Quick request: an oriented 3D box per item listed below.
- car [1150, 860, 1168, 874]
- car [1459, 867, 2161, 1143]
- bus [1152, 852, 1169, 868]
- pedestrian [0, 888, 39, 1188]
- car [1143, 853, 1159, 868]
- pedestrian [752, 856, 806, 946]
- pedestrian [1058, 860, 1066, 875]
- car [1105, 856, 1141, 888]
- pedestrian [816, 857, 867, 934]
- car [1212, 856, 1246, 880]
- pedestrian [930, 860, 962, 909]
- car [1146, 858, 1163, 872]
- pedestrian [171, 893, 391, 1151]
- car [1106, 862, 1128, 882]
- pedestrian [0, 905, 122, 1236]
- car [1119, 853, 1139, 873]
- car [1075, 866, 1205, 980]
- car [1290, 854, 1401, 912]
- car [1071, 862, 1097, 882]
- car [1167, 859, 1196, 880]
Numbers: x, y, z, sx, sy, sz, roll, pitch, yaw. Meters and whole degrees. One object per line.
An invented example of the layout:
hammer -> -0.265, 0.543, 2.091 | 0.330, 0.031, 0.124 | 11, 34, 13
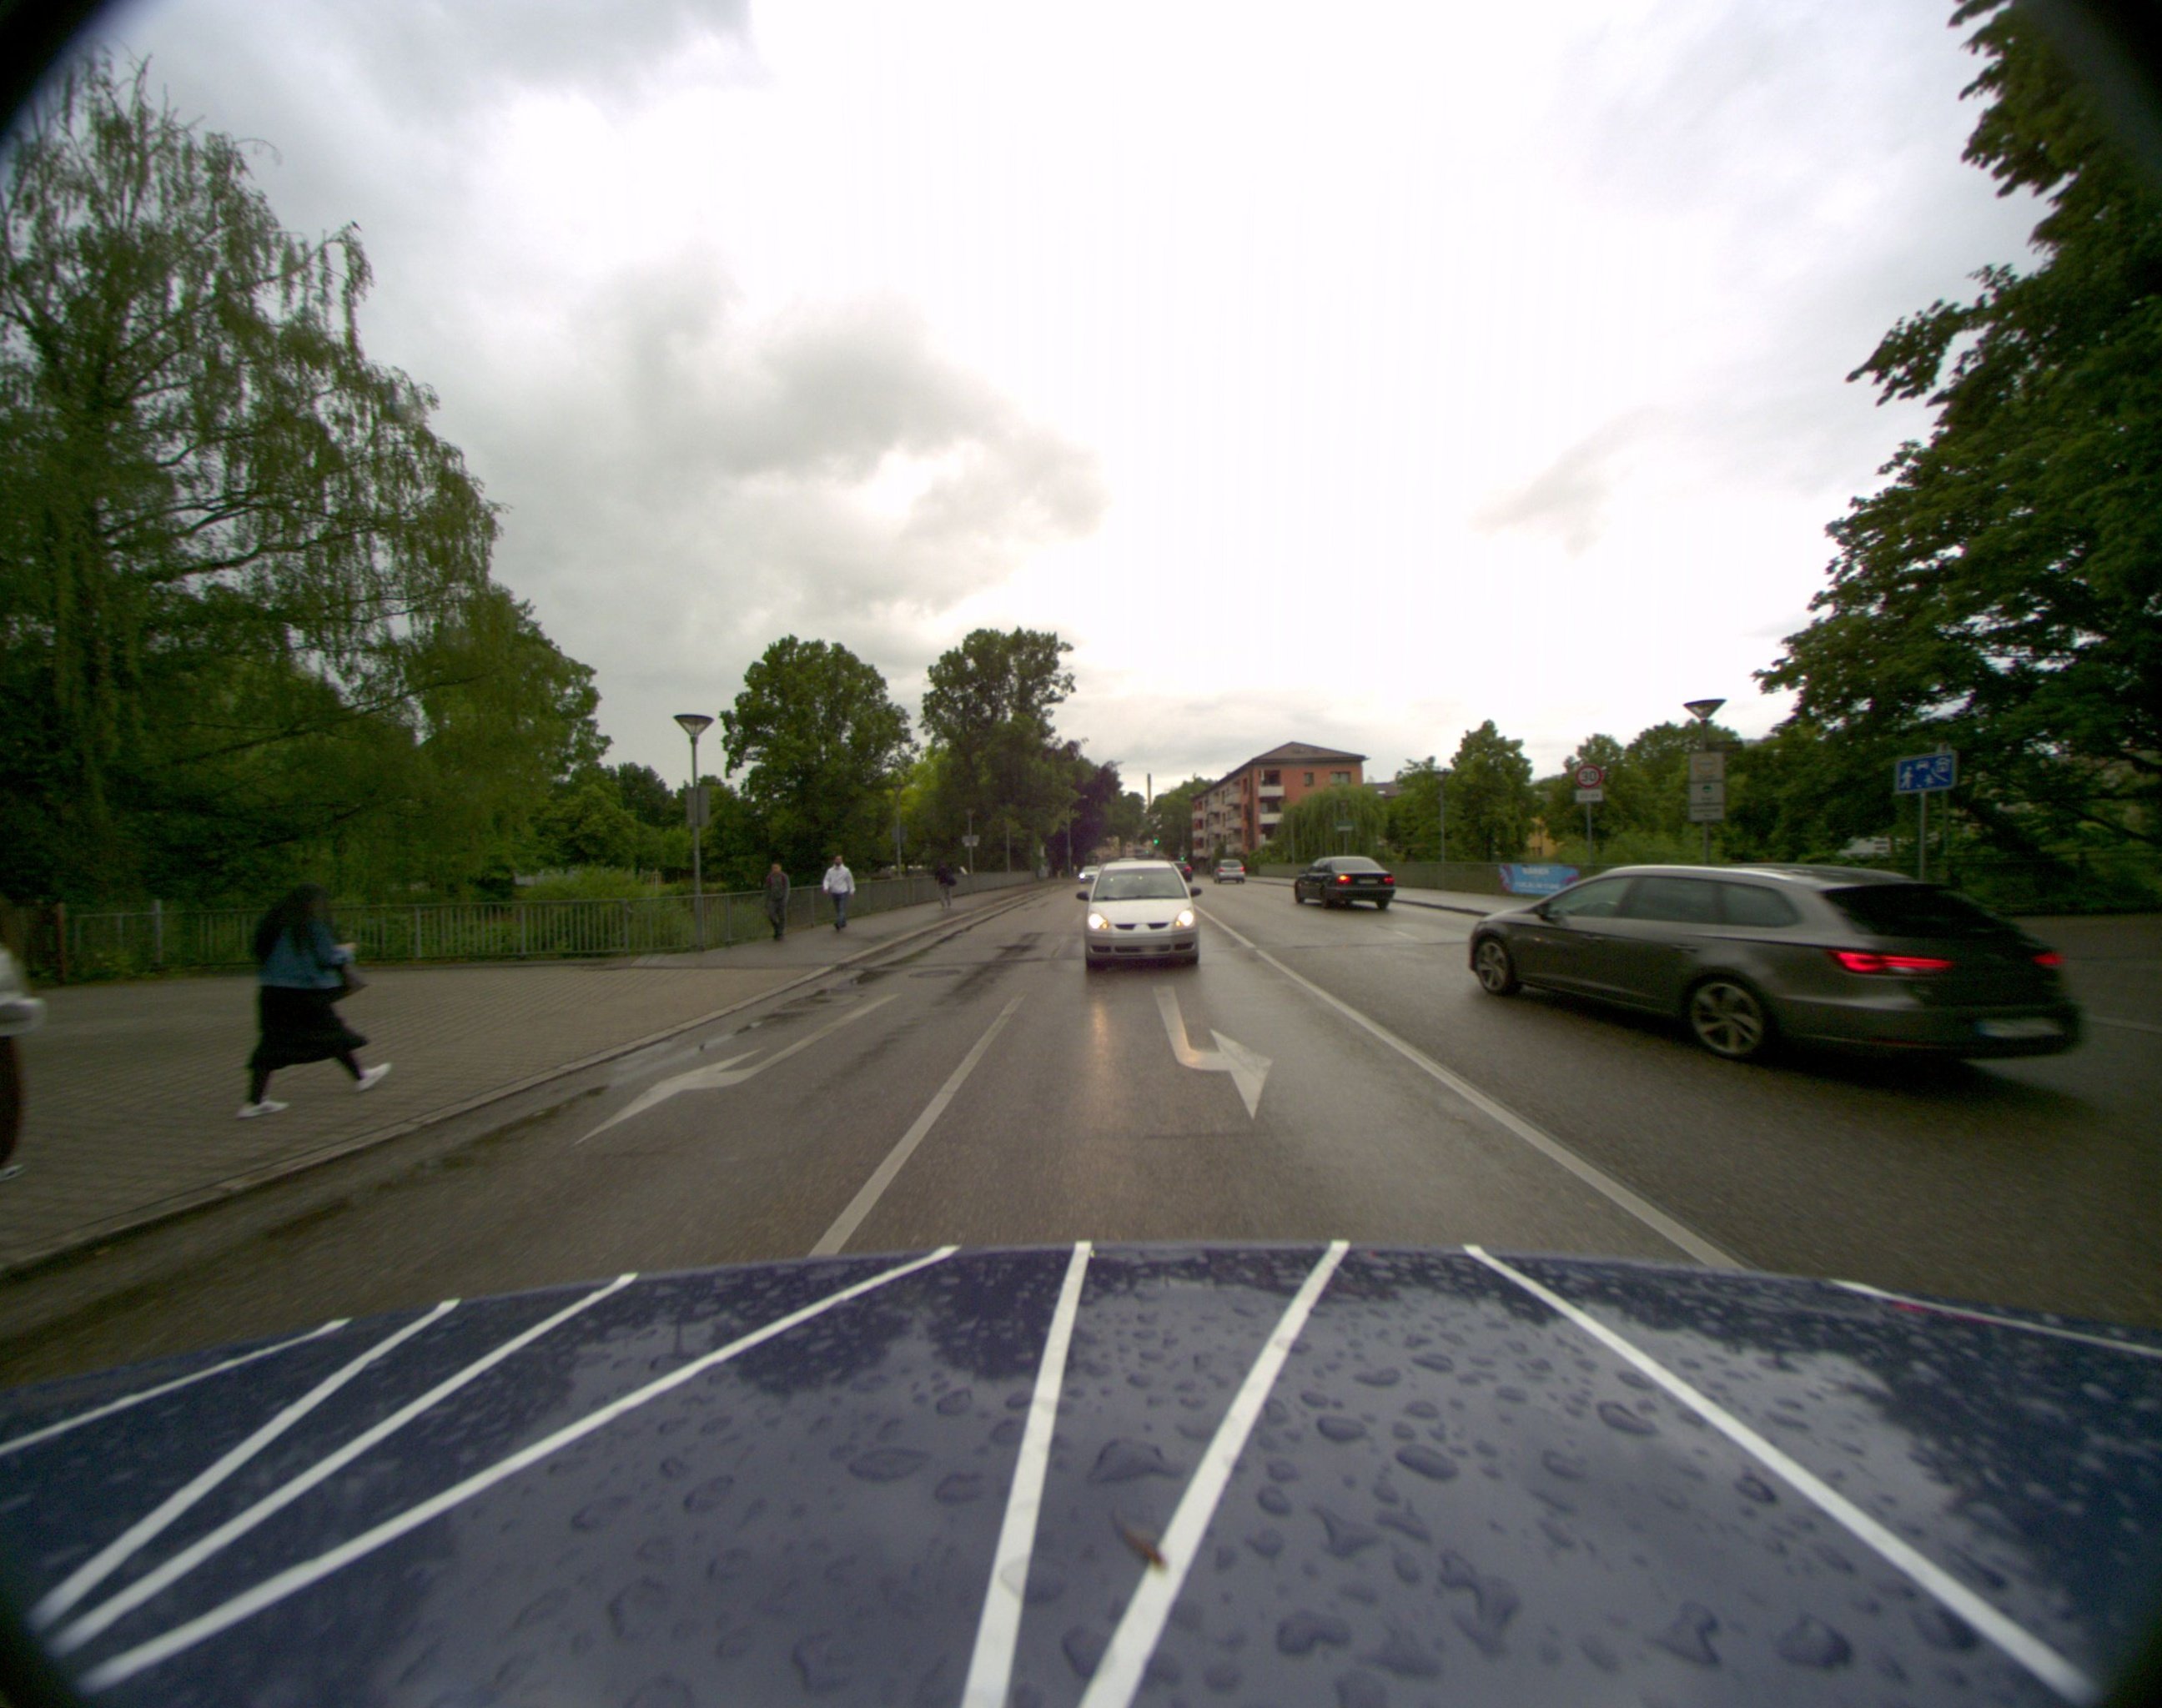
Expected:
car -> 8.262, 1.388, 80.922 | 1.785, 1.394, 4.220 | 0, -1, 4
car -> 5.433, 0.890, 6.510 | 1.817, 1.441, 4.203 | -1, 1, -9
bus -> 15.735, 1.133, 150.444 | 2.699, 2.922, 12.088 | -1, 0, 3
pedestrian -> -6.410, 1.019, 3.998 | 0.762, 1.667, 0.781 | 0, -1, 3
car -> 11.757, 1.101, 127.743 | 2.295, 2.294, 6.512 | 0, -1, 3
pedestrian -> -6.196, 0.947, 15.627 | 0.762, 1.798, 0.781 | -1, 0, 3
pedestrian -> -2.106, 1.550, 84.940 | 0.849, 1.666, 1.168 | 0, 0, 3
car -> 2.142, 0.903, 38.879 | 1.718, 1.508, 4.089 | -2, -1, 3
pedestrian -> -5.608, 0.946, 17.863 | 0.781, 1.742, 1.061 | -1, 0, 3
car -> 9.324, 0.843, 48.037 | 1.630, 1.411, 3.687 | -1, 0, 4
pedestrian -> -4.494, 0.997, 25.379 | 0.864, 1.609, 0.840 | -1, 0, 3
car -> 8.855, 1.320, 91.615 | 1.893, 1.724, 4.373 | -1, -1, 4
pedestrian -> -5.430, 1.084, 5.209 | 0.659, 1.591, 0.796 | 0, 0, 1
car -> 3.011, 1.495, 63.600 | 1.718, 1.508, 4.089 | -2, -1, 3
pedestrian -> -5.639, 1.071, 3.873 | 0.765, 1.565, 0.779 | 1, -1, -39
car -> 5.297, 0.986, 83.141 | 2.036, 2.119, 4.001 | -1, 0, 4
car -> 0.928, 0.989, 12.842 | 1.718, 1.508, 4.808 | -2, -1, 3
car -> 7.533, 0.760, 22.100 | 1.733, 1.451, 4.428 | -1, 0, 0
car -> 0.281, 1.514, 64.334 | 1.905, 1.537, 4.001 | -1, 0, 4
car -> 7.160, 1.075, 54.477 | 1.713, 1.408, 4.095 | 0, 0, 3
